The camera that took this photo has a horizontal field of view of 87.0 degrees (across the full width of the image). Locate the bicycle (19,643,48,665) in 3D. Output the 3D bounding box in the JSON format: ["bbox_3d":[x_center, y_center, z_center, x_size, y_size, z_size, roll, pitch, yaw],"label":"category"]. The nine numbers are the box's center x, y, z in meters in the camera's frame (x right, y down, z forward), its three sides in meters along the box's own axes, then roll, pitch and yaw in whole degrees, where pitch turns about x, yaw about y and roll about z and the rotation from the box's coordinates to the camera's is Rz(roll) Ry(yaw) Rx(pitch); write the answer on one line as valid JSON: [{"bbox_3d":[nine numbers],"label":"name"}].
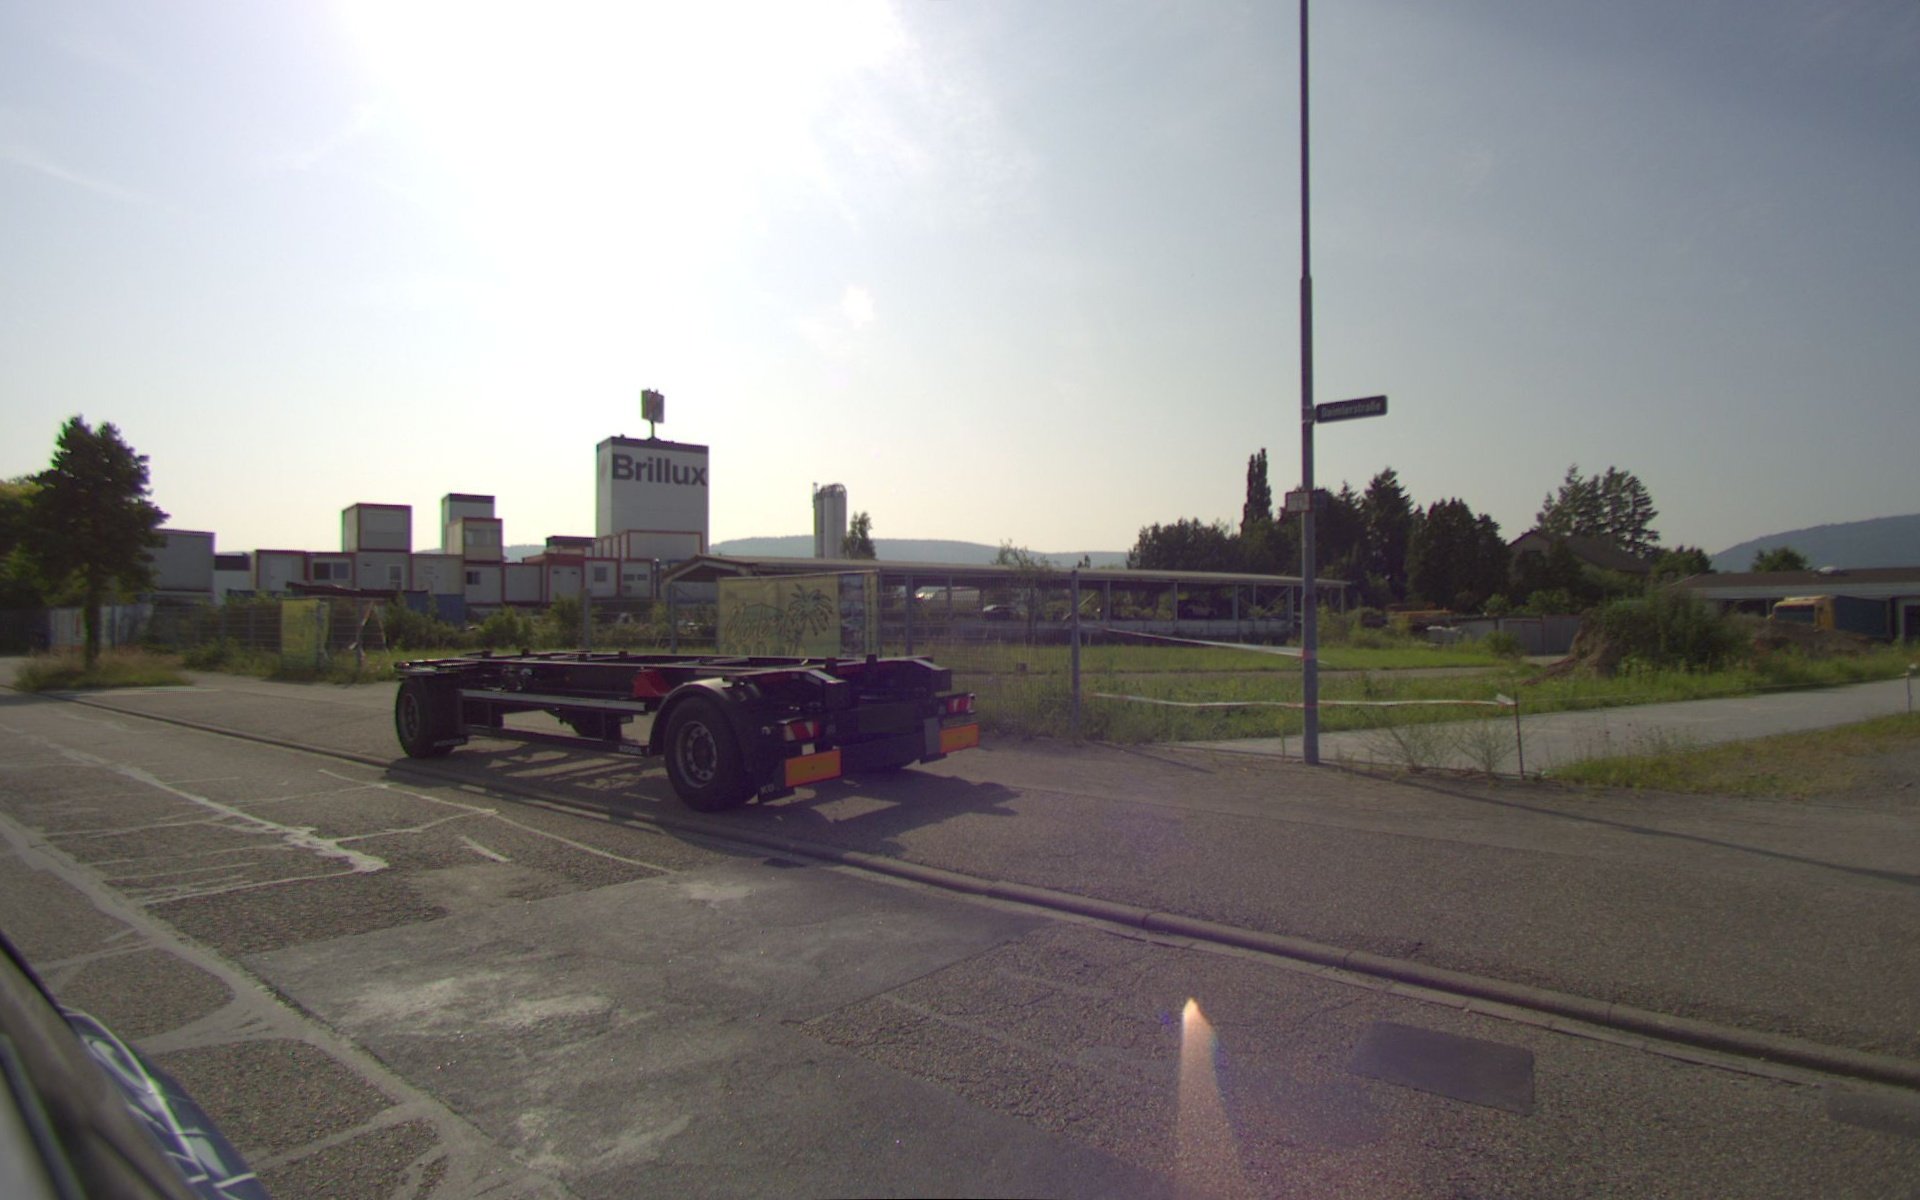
[{"bbox_3d":[-41.852,2.422,45.688,2.449,0.980,0.557,-1,-2,38],"label":"bicycle"}]

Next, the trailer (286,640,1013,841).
[{"bbox_3d":[-3.987,1.108,10.763,9.350,1.193,2.558,-1,0,38],"label":"trailer"}]

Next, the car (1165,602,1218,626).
[{"bbox_3d":[17.743,1.093,77.604,3.836,1.821,1.752,1,-2,-32],"label":"car"}]

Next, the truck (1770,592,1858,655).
[{"bbox_3d":[55.762,1.557,66.005,7.465,3.916,2.906,2,-3,-38],"label":"truck"}]

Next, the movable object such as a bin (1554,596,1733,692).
[{"bbox_3d":[18.991,1.198,28.137,4.231,2.475,2.260,1,-2,-26],"label":"movable object such as a bin"}]
